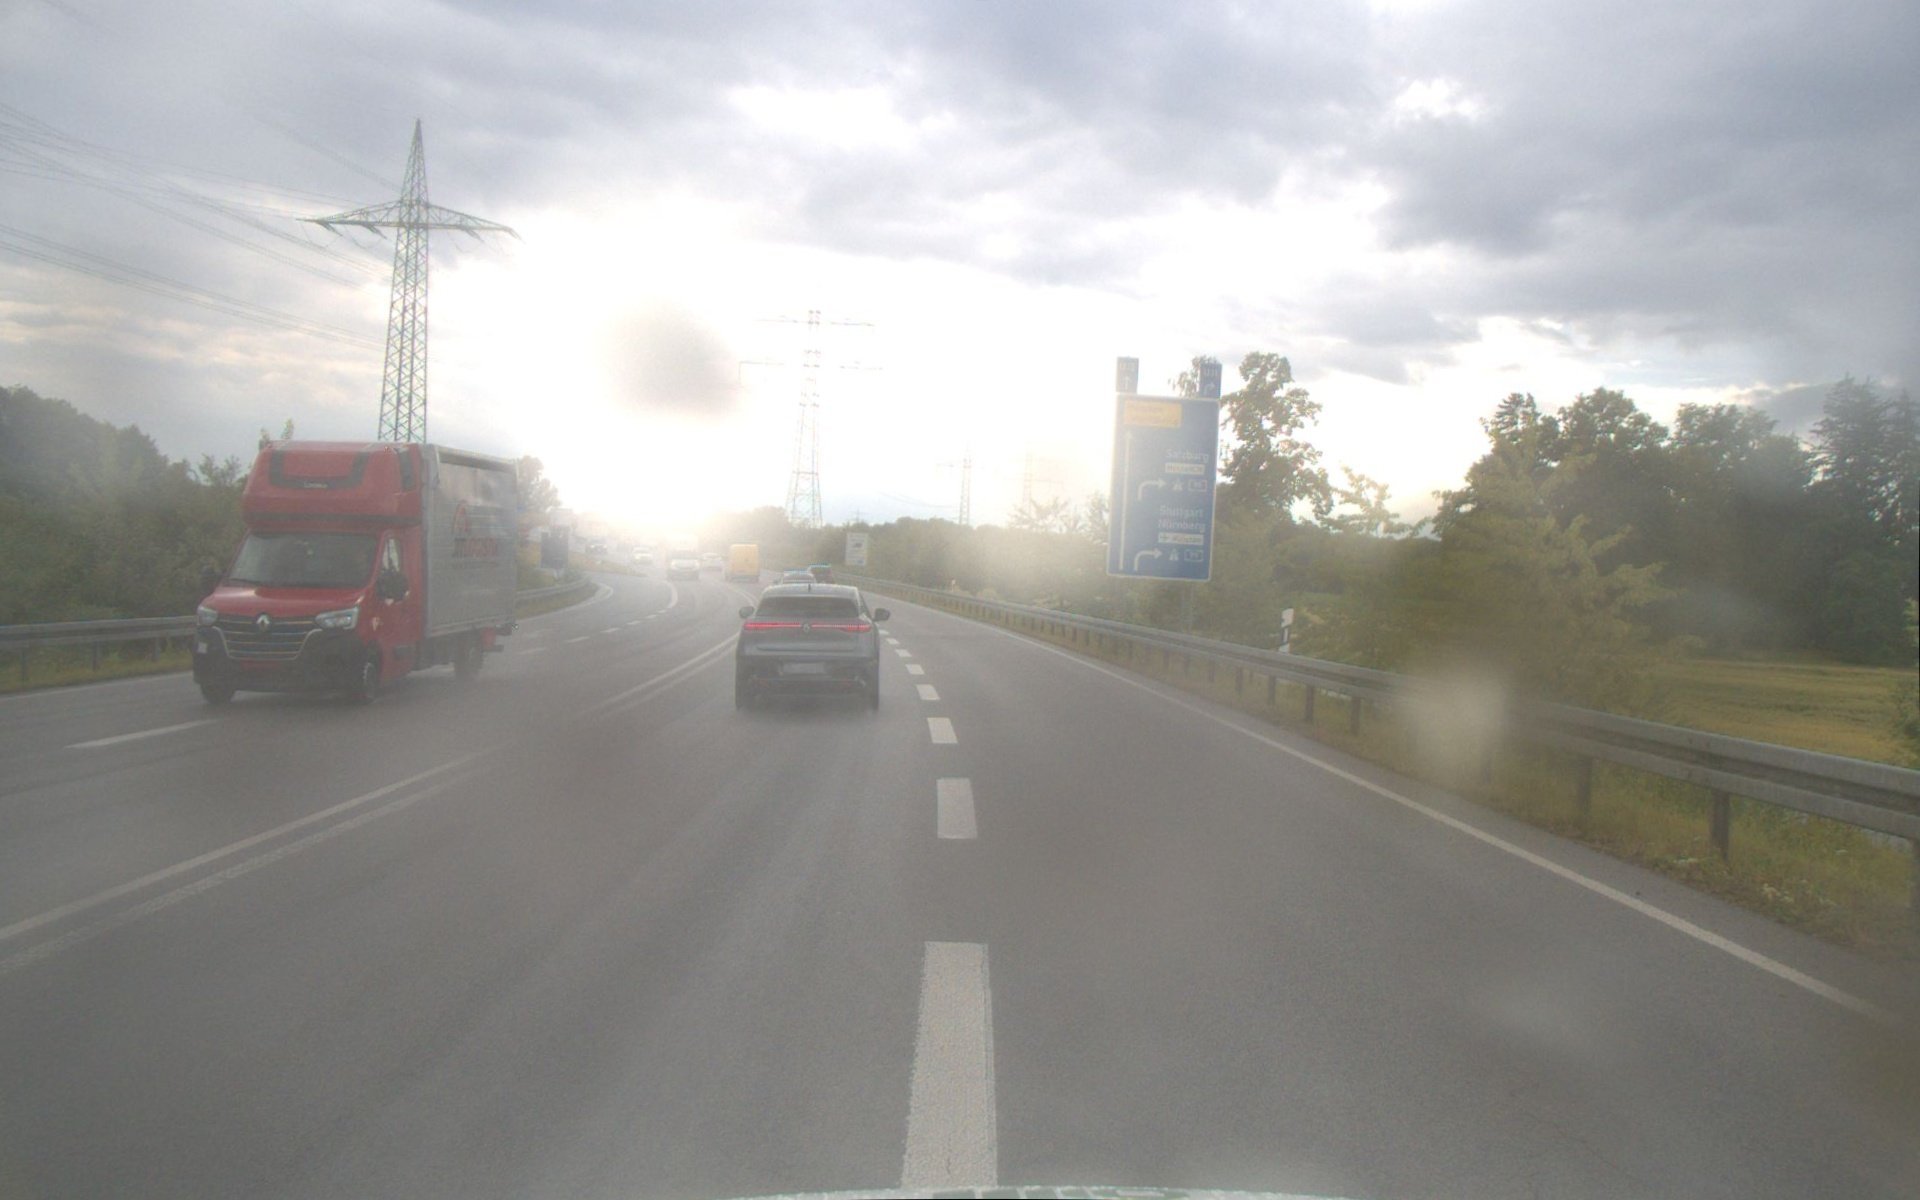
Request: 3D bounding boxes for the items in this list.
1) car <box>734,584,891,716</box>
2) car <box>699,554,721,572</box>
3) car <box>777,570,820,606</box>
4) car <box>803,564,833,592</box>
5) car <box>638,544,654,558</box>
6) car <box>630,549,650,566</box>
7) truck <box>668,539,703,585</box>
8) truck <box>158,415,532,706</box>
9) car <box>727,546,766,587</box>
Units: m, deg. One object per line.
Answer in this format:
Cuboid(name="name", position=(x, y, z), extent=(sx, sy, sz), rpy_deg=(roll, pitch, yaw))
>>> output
Cuboid(name="car", position=(-1.825, 0.588, 21.205), extent=(1.756, 1.466, 3.997), rpy_deg=(2, 0, -3))
Cuboid(name="car", position=(-21.250, -3.125, 140.850), extent=(1.758, 1.466, 3.993), rpy_deg=(1, 1, -8))
Cuboid(name="car", position=(-7.041, -0.529, 72.097), extent=(1.757, 1.466, 3.995), rpy_deg=(2, 0, -6))
Cuboid(name="car", position=(-8.725, -1.333, 101.357), extent=(1.757, 1.568, 3.995), rpy_deg=(3, 0, -6))
Cuboid(name="car", position=(-37.247, -5.749, 196.111), extent=(1.766, 1.602, 4.250), rpy_deg=(0, 1, -9))
Cuboid(name="car", position=(-30.161, -4.009, 155.936), extent=(1.759, 1.466, 3.990), rpy_deg=(0, 0, -11))
Cuboid(name="truck", position=(-19.756, -2.702, 119.347), extent=(2.213, 3.211, 6.680), rpy_deg=(0, 1, -7))
Cuboid(name="truck", position=(-8.019, -0.516, 22.677), extent=(2.430, 3.349, 7.280), rpy_deg=(0, 1, 0))
Cuboid(name="car", position=(-15.175, -2.370, 117.083), extent=(2.525, 2.773, 7.181), rpy_deg=(0, 1, -9))
